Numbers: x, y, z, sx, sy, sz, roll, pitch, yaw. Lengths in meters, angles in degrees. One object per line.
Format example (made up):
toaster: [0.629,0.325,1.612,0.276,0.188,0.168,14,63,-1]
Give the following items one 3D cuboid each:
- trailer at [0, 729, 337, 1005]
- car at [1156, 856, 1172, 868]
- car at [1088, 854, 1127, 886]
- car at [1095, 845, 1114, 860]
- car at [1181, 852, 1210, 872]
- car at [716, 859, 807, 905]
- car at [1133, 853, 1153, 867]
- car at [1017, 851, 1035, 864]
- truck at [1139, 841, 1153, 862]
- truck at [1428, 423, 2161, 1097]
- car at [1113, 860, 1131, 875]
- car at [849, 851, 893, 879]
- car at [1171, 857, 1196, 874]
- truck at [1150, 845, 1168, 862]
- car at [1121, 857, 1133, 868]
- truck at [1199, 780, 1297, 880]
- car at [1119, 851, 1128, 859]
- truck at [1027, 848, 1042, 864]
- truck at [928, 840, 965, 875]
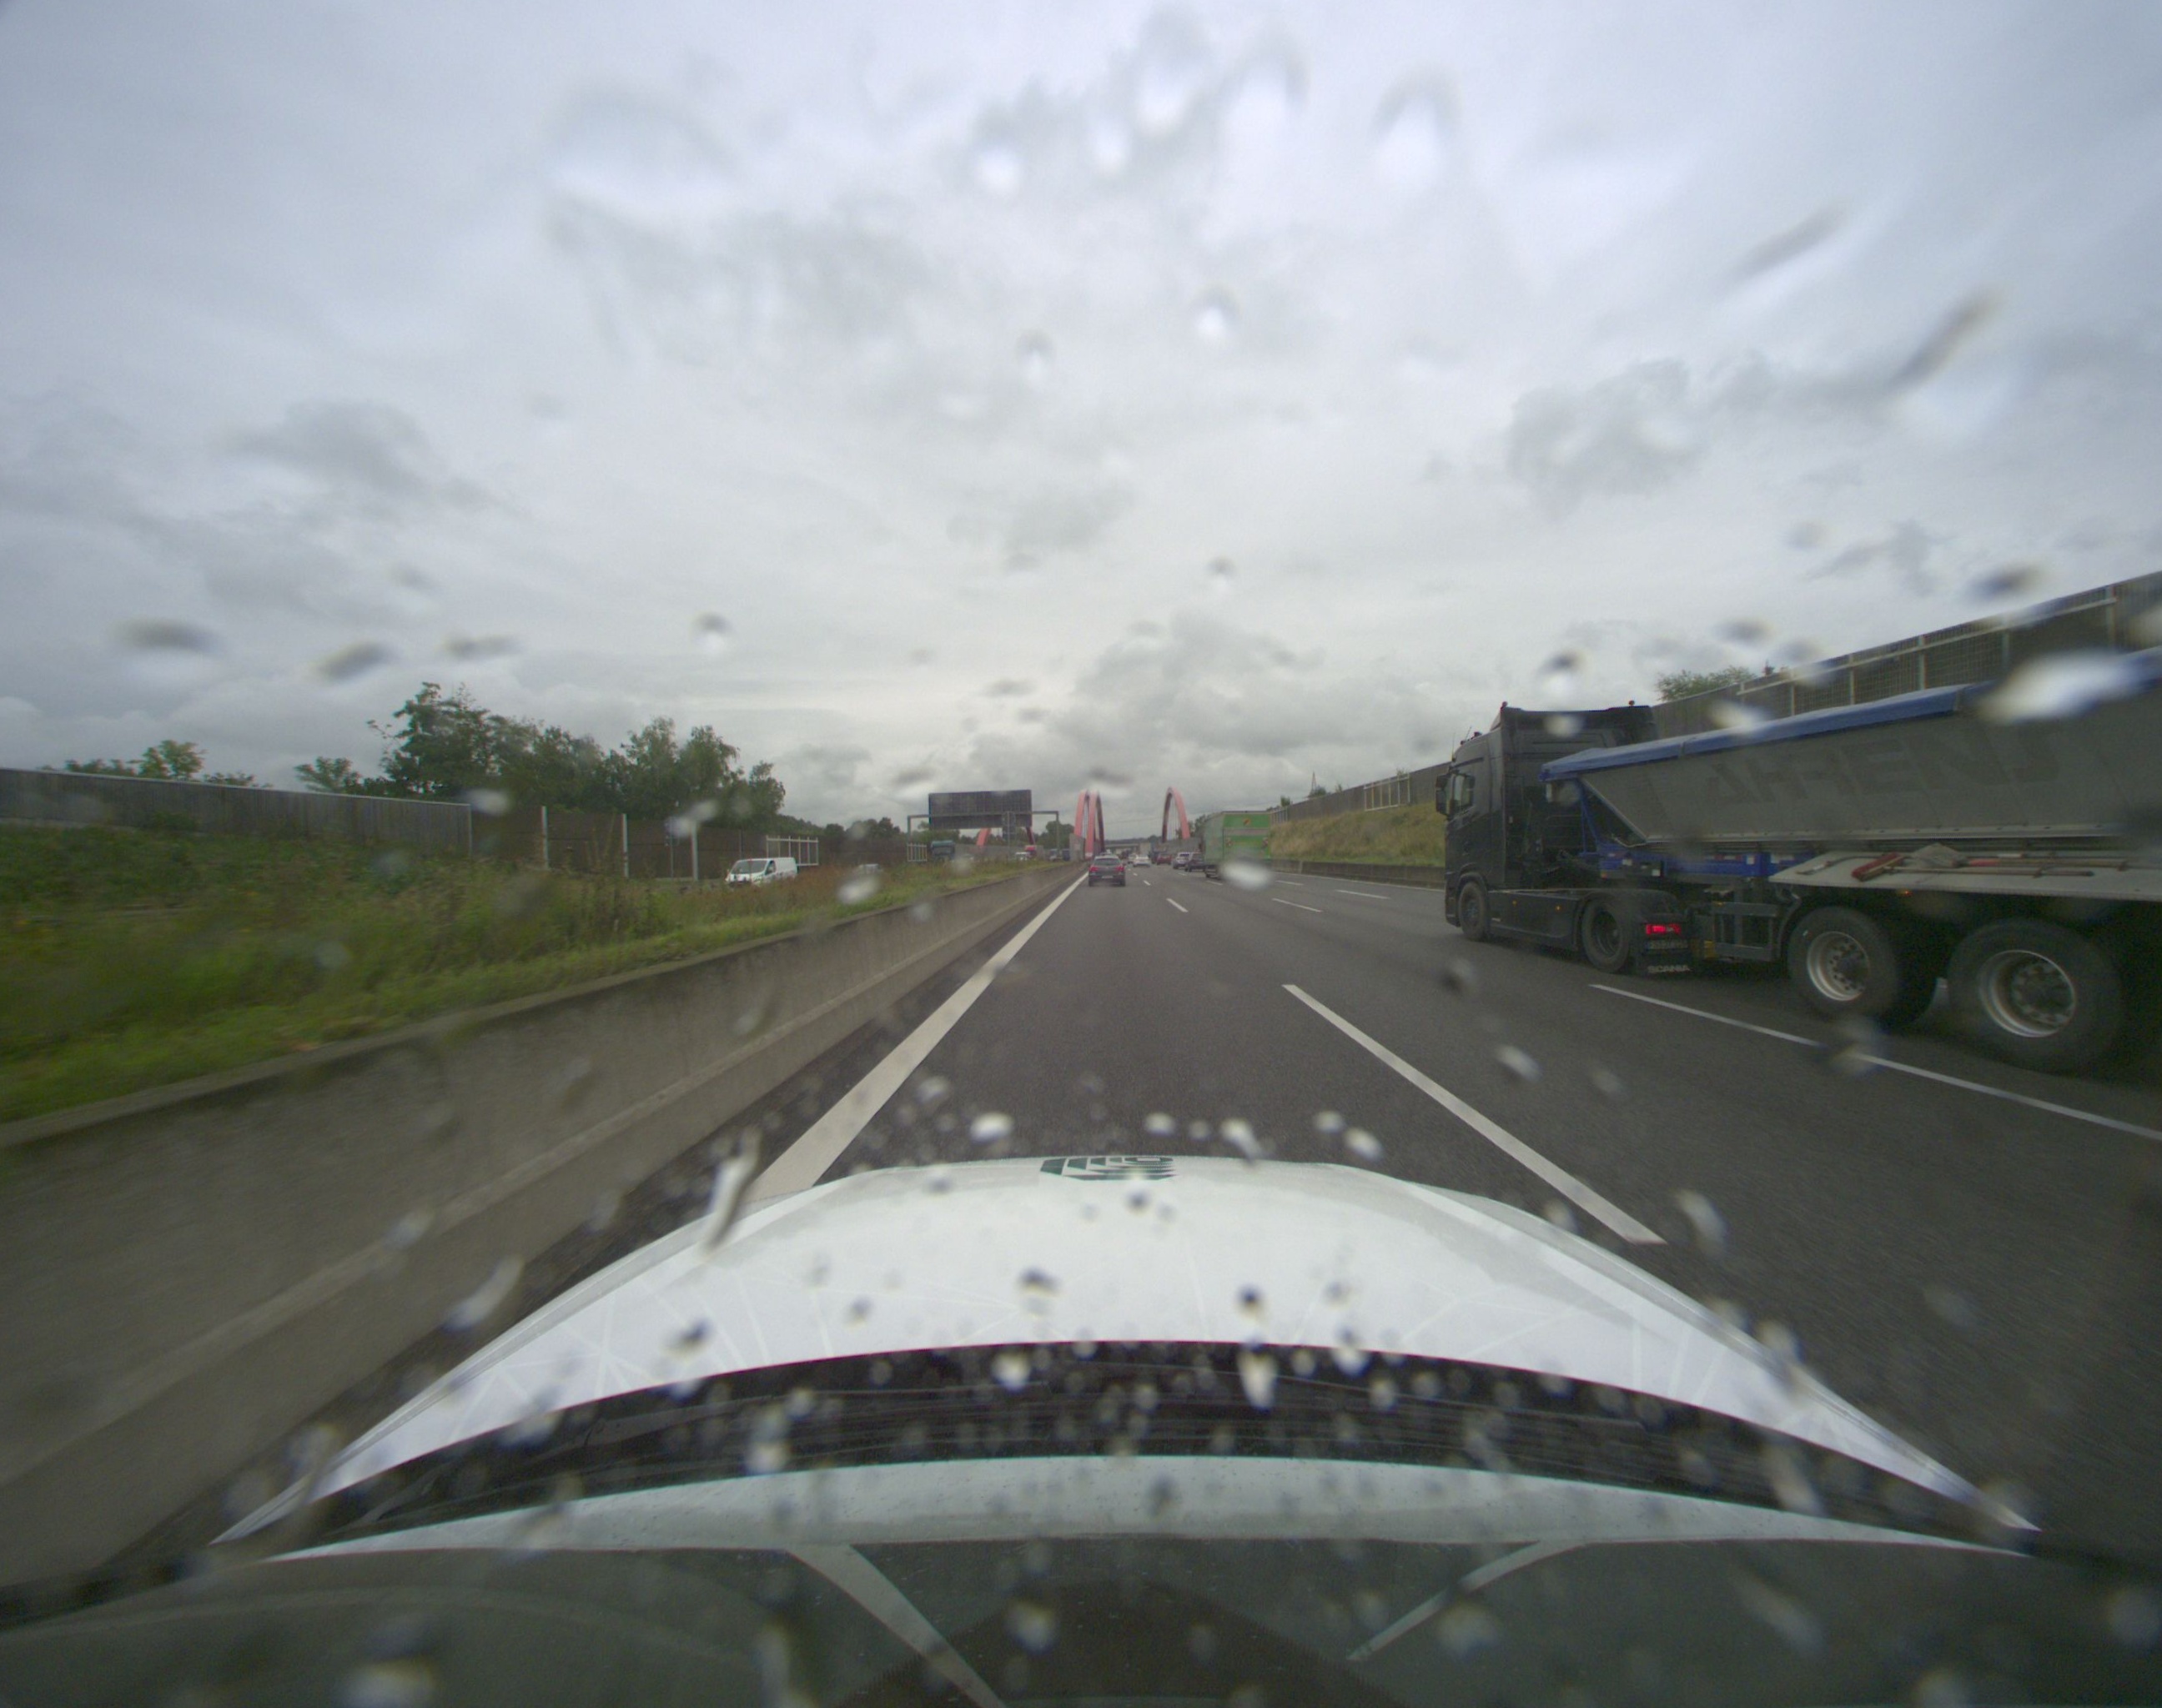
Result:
trailer: [-13.096,0.139,7.256,2.944,2.959,10.573,0,0,2]
car: [11.198,1.075,110.140,1.950,1.647,4.001,0,0,1]
car: [1.288,0.742,39.096,1.757,1.453,4.003,-1,0,2]
car: [2.630,-0.194,90.756,1.986,1.585,4.001,-2,0,1]
car: [9.685,0.661,68.933,1.905,1.670,4.104,-1,0,1]
car: [-15.519,1.280,40.000,1.900,2.013,5.956,-1,0,2]
car: [6.987,0.670,92.072,1.986,1.486,4.001,-1,0,1]
car: [-9.109,0.577,134.432,2.205,2.013,7.063,-1,0,2]
truck: [14.593,-0.510,183.061,3.032,4.734,7.684,0,0,2]
truck: [7.855,-0.545,9.180,2.802,3.950,12.717,0,0,1]
car: [4.078,1.295,81.160,1.775,1.406,3.627,-1,0,2]
car: [-15.890,0.805,61.888,1.986,2.013,4.654,-1,0,2]
car: [10.122,1.067,80.583,1.986,1.619,5.329,0,0,1]
truck: [11.977,-0.041,124.932,2.352,2.506,6.147,-1,0,2]
car: [6.892,1.199,121.649,1.696,1.543,3.839,-1,0,1]
truck: [9.592,-1.275,48.478,3.982,5.266,11.226,0,0,2]
car: [9.602,0.242,183.993,1.986,1.815,4.002,-1,0,2]
truck: [-10.690,0.477,188.553,2.973,3.753,5.919,-1,0,2]
truck: [-15.319,0.440,93.287,2.852,3.838,7.524,0,0,1]
